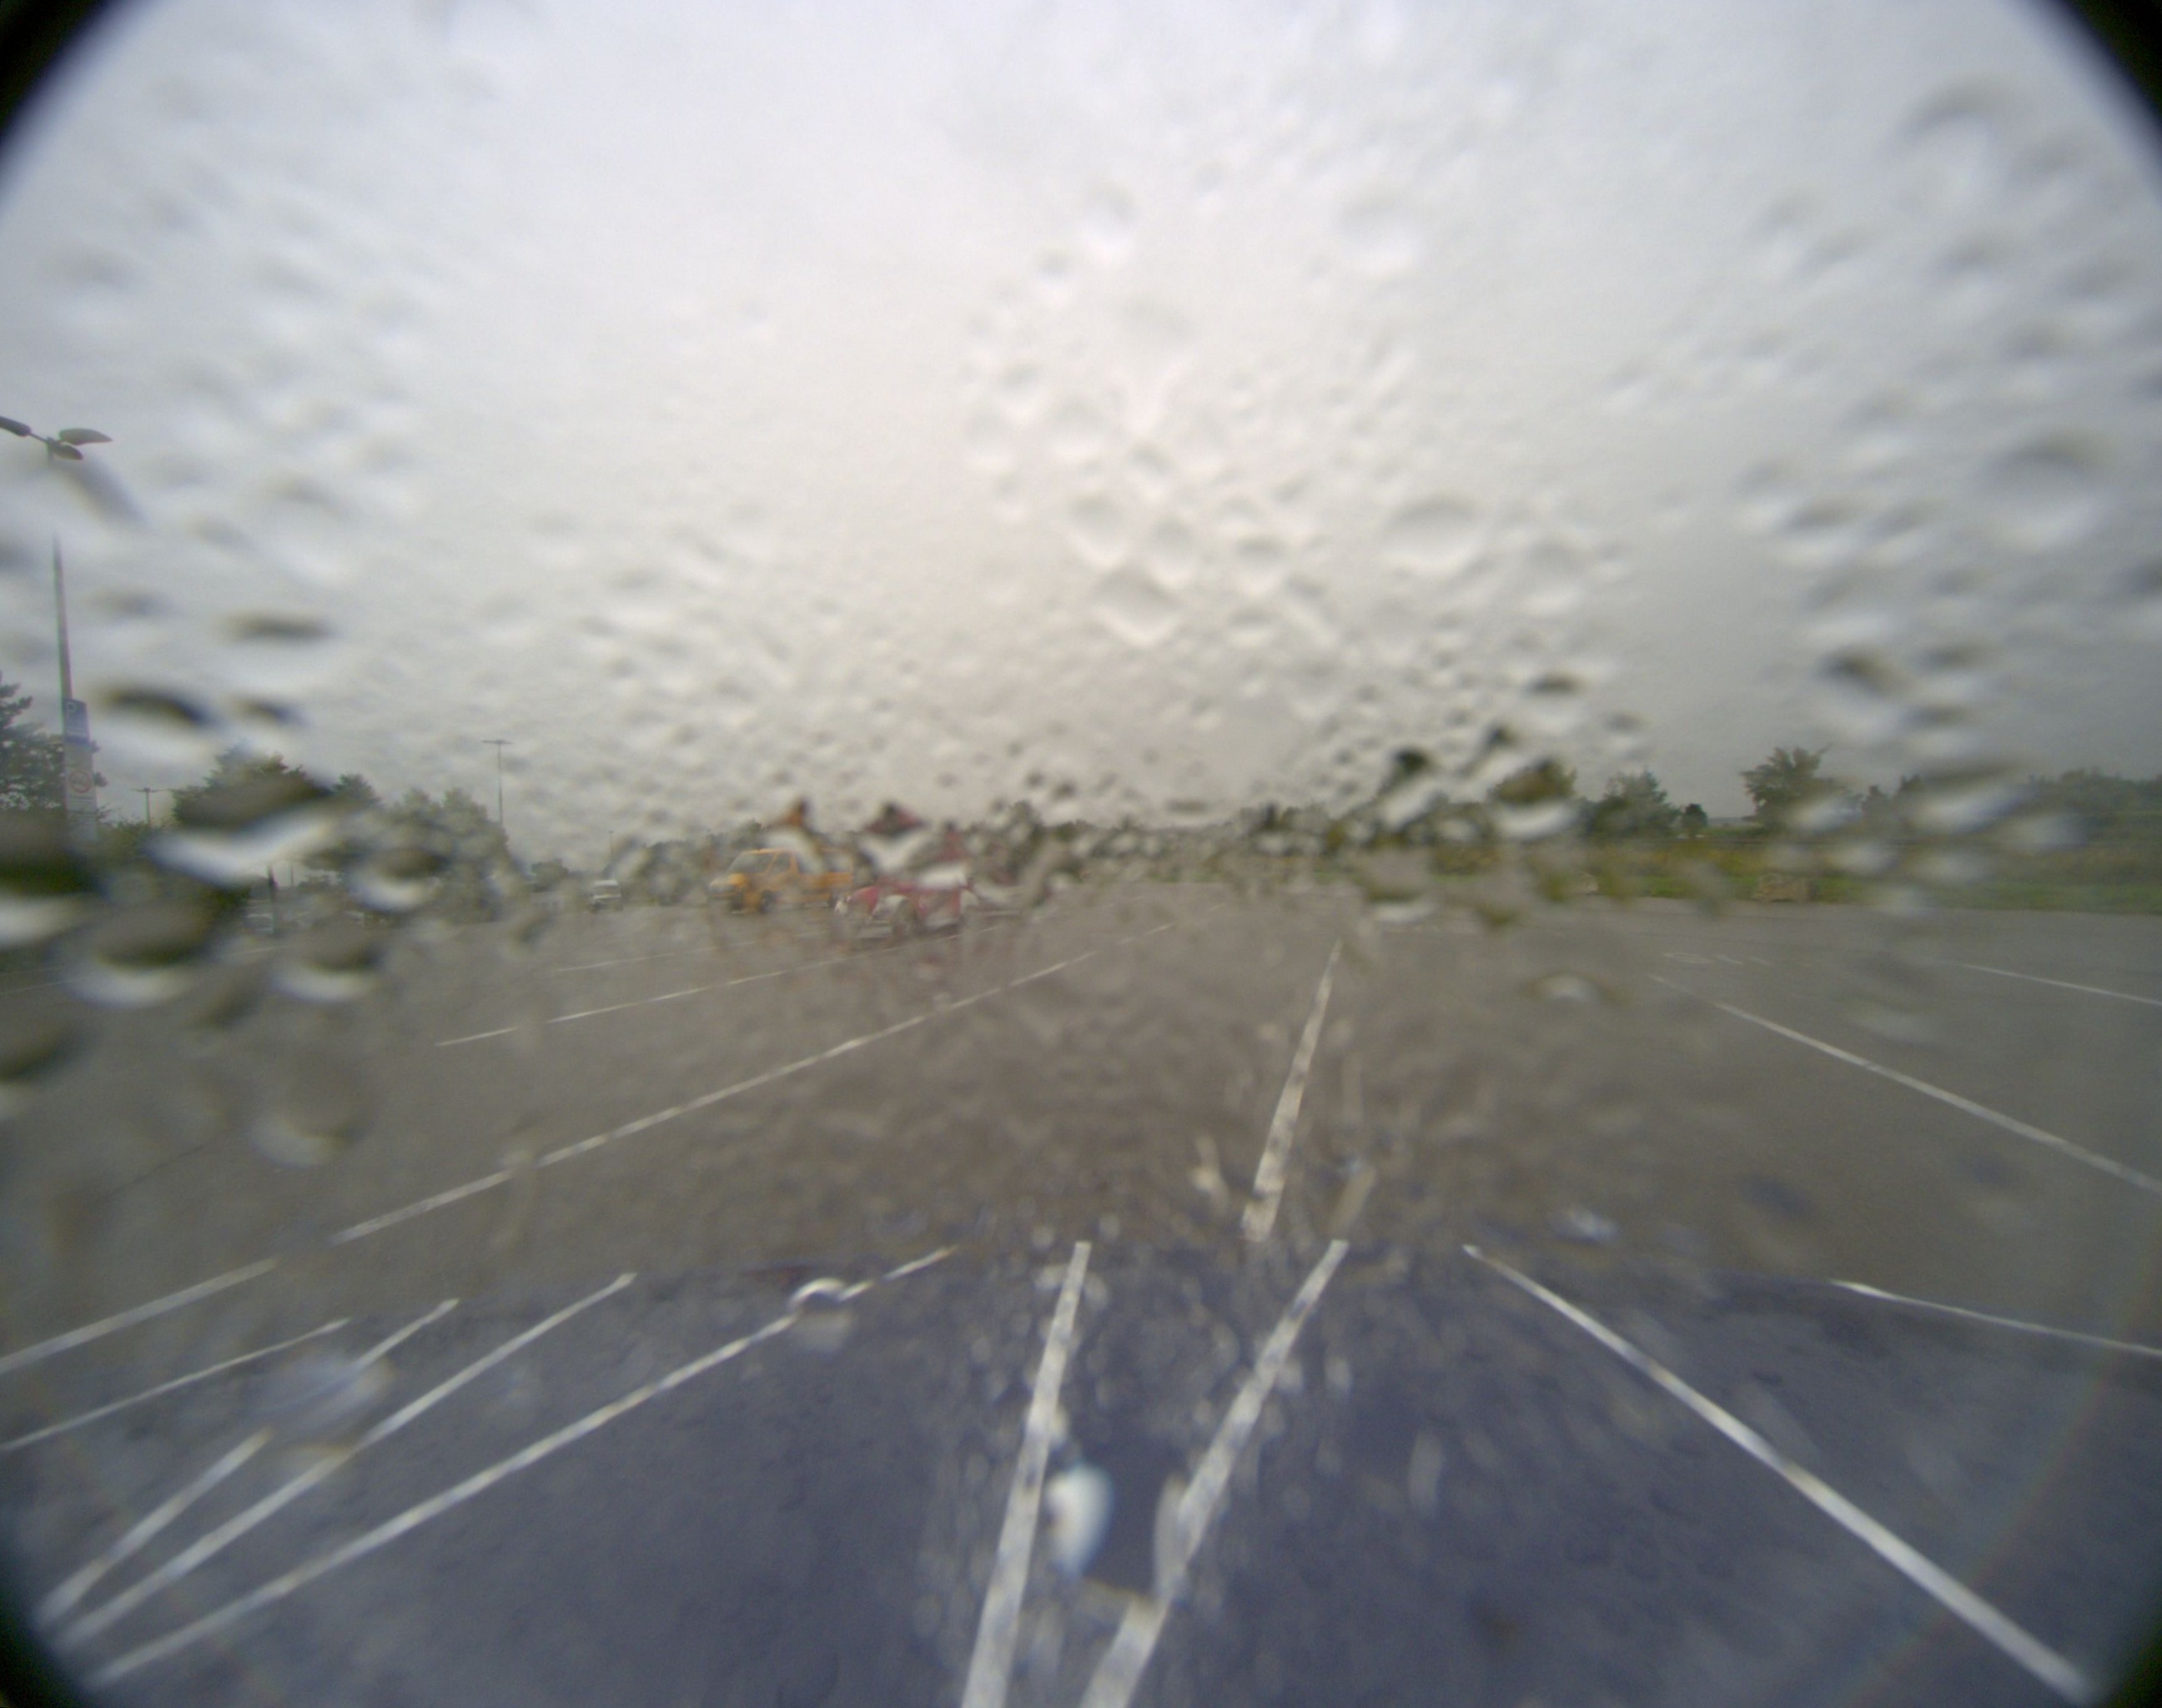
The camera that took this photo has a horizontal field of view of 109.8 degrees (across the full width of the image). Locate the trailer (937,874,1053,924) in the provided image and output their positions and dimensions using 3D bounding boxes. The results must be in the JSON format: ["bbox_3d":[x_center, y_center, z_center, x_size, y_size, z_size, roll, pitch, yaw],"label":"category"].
[{"bbox_3d":[-2.105,1.116,19.413,1.585,1.061,3.035,-2,-1,24],"label":"trailer"}]

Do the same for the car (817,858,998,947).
[{"bbox_3d":[-3.486,0.918,16.096,1.546,1.546,4.063,-1,0,24],"label":"car"}]

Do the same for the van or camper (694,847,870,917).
[{"bbox_3d":[-10.672,0.896,27.895,2.130,2.233,6.427,-1,0,21],"label":"van or camper"}]
